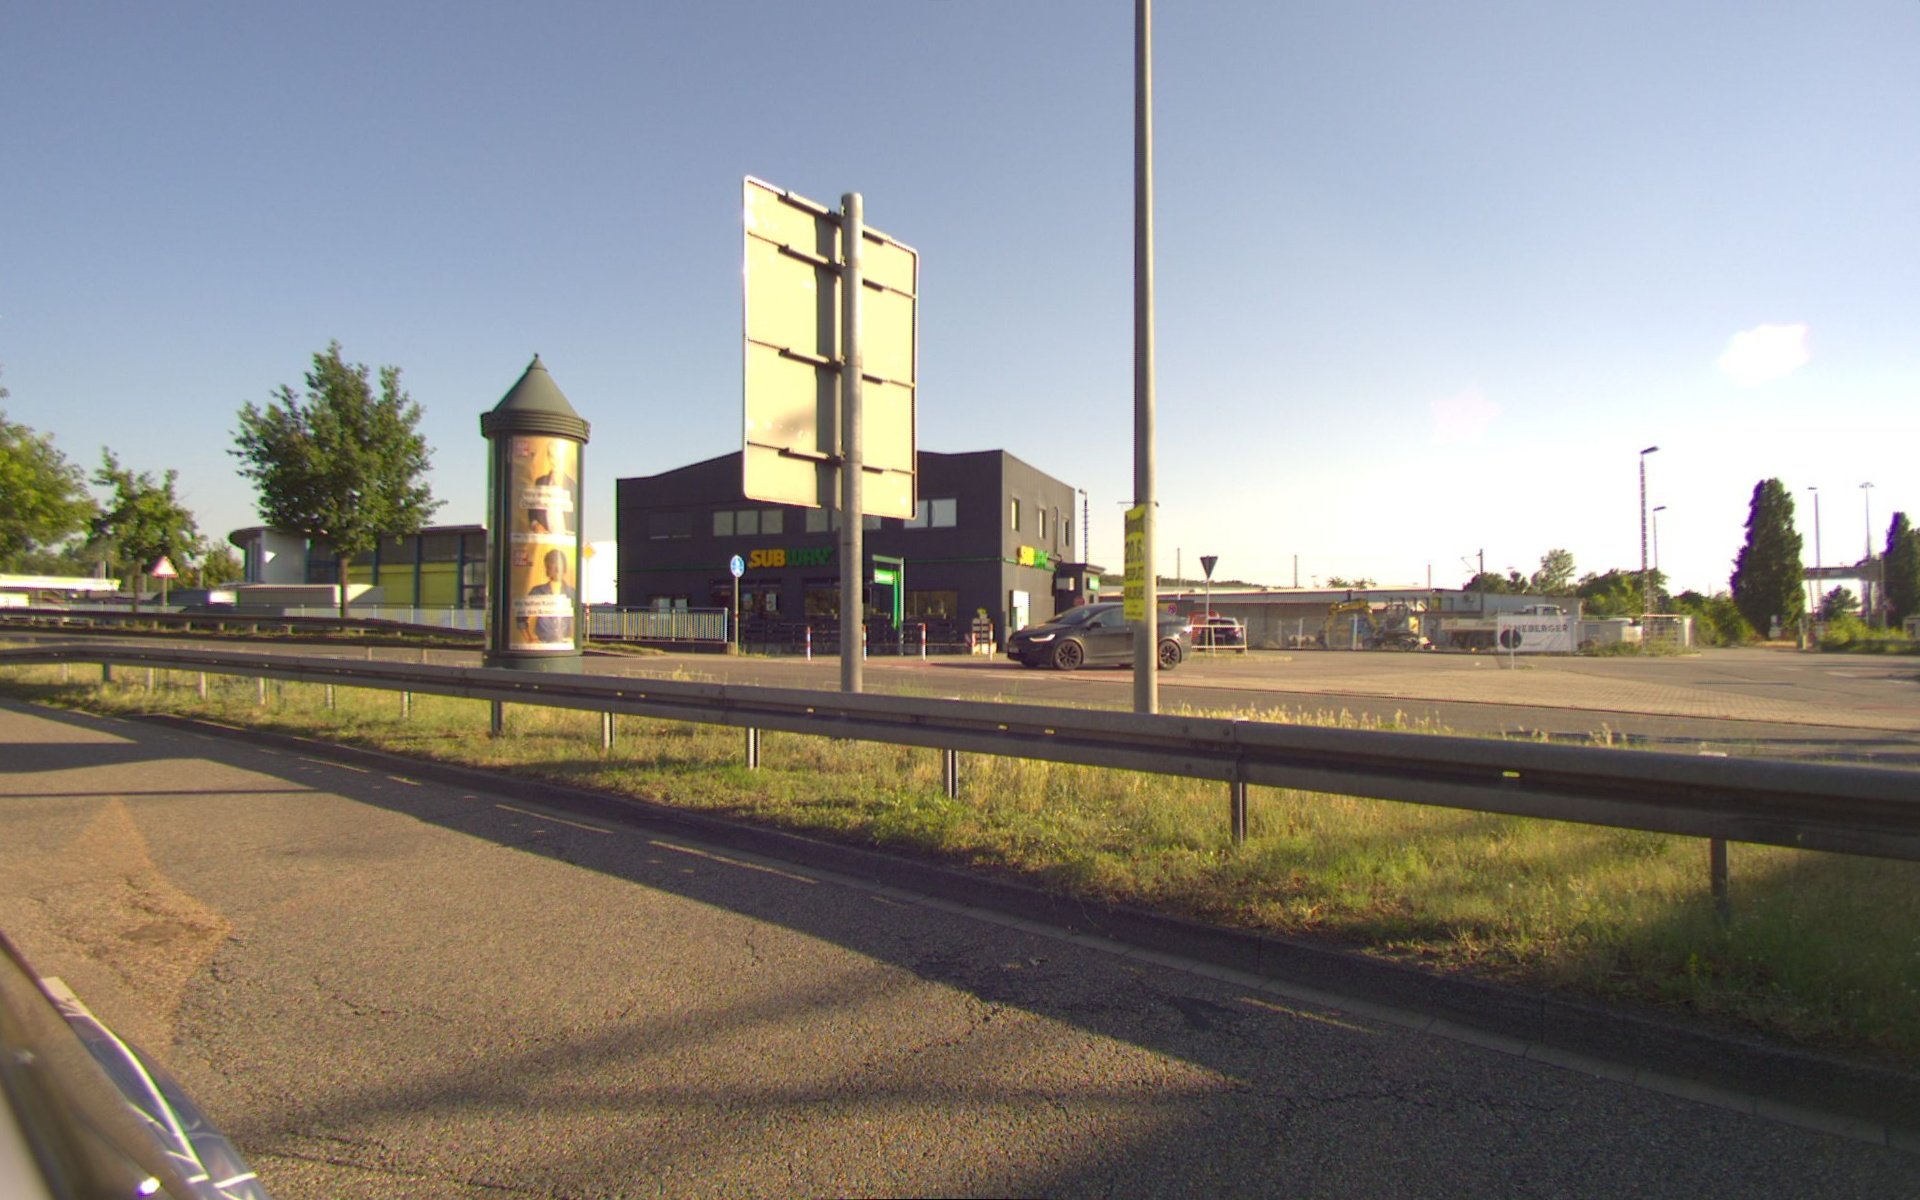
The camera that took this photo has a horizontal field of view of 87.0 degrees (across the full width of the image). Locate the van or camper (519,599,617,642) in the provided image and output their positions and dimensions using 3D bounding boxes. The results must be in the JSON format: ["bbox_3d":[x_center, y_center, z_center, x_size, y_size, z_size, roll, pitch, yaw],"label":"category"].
[{"bbox_3d":[-19.247,1.000,49.743,4.157,1.940,2.006,2,-1,-32],"label":"van or camper"}]

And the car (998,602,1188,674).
[{"bbox_3d":[3.338,0.908,25.333,4.440,1.676,1.798,1,-1,-25],"label":"car"}]

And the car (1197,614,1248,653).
[{"bbox_3d":[11.077,1.357,42.593,1.829,1.541,3.976,1,-1,18],"label":"car"}]

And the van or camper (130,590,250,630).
[{"bbox_3d":[-34.576,0.436,45.467,4.924,1.698,1.986,1,0,21],"label":"van or camper"}]

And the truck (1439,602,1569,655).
[{"bbox_3d":[33.980,1.743,63.370,6.696,3.168,2.434,1,-1,6],"label":"truck"}]

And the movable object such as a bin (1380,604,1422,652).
[{"bbox_3d":[26.367,1.647,60.484,2.210,2.735,1.723,0,-1,28],"label":"movable object such as a bin"}]

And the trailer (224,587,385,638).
[{"bbox_3d":[-27.871,0.500,43.028,6.560,1.985,2.410,1,0,22],"label":"trailer"}]
